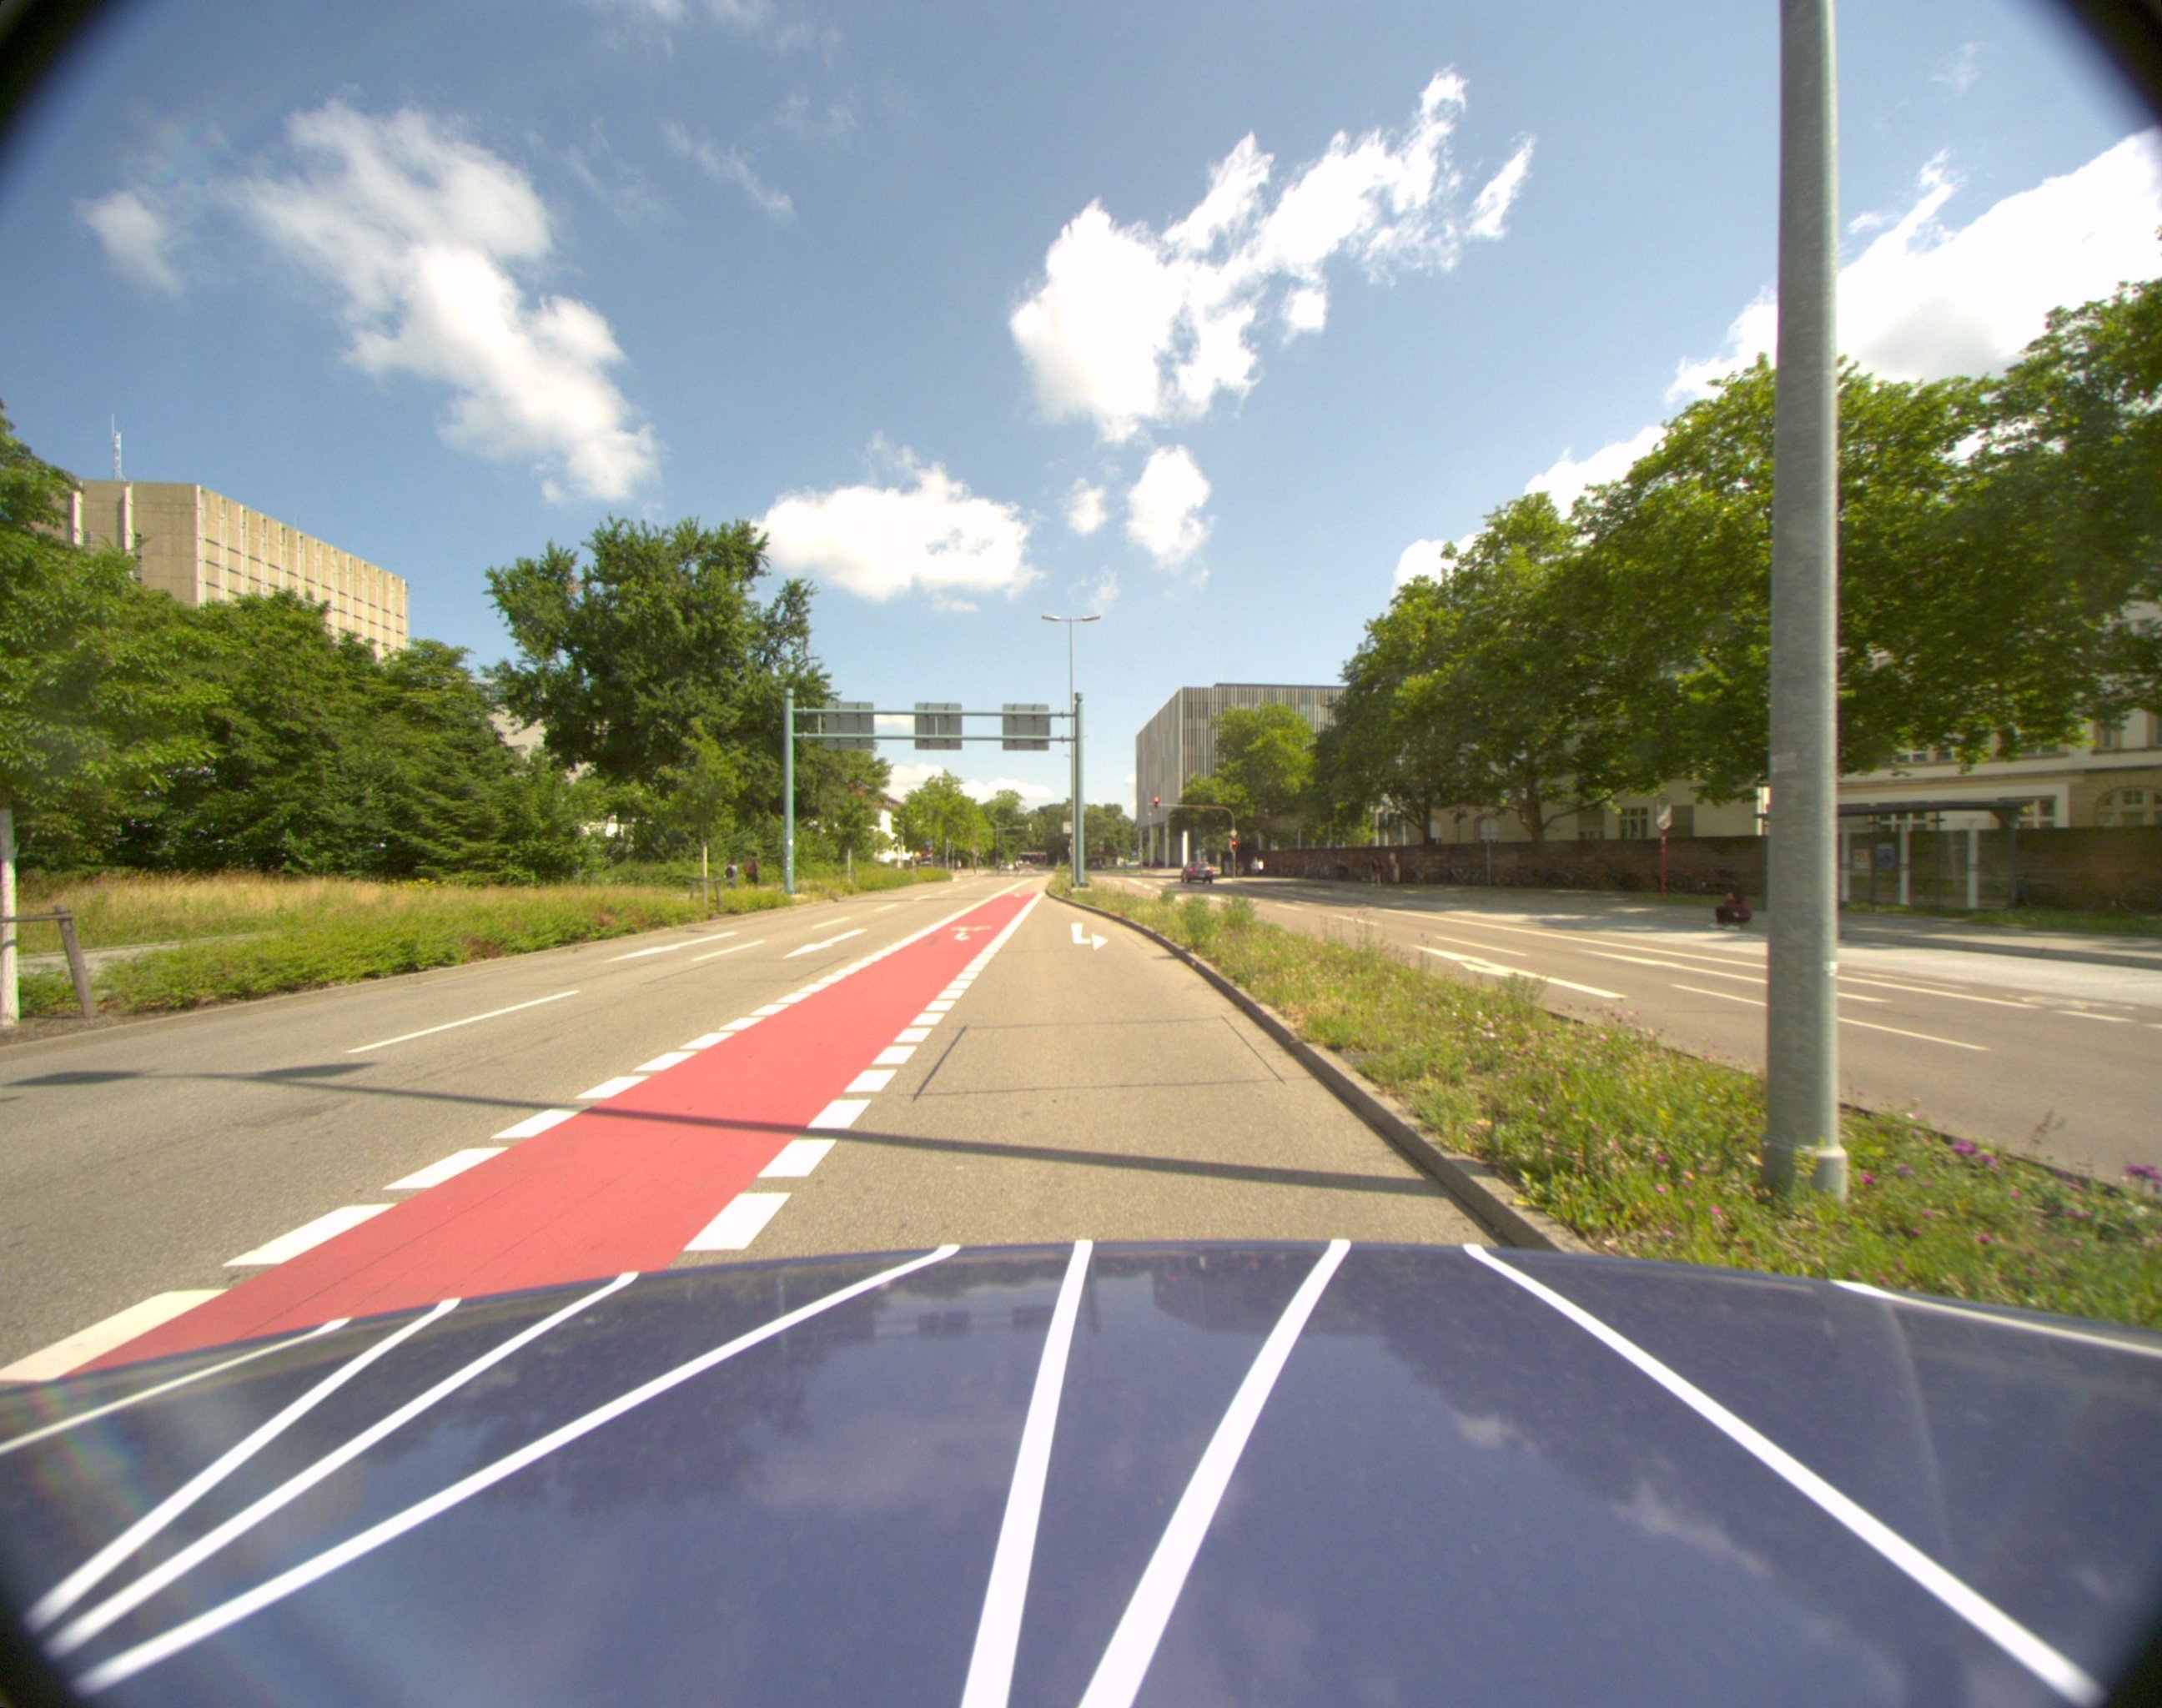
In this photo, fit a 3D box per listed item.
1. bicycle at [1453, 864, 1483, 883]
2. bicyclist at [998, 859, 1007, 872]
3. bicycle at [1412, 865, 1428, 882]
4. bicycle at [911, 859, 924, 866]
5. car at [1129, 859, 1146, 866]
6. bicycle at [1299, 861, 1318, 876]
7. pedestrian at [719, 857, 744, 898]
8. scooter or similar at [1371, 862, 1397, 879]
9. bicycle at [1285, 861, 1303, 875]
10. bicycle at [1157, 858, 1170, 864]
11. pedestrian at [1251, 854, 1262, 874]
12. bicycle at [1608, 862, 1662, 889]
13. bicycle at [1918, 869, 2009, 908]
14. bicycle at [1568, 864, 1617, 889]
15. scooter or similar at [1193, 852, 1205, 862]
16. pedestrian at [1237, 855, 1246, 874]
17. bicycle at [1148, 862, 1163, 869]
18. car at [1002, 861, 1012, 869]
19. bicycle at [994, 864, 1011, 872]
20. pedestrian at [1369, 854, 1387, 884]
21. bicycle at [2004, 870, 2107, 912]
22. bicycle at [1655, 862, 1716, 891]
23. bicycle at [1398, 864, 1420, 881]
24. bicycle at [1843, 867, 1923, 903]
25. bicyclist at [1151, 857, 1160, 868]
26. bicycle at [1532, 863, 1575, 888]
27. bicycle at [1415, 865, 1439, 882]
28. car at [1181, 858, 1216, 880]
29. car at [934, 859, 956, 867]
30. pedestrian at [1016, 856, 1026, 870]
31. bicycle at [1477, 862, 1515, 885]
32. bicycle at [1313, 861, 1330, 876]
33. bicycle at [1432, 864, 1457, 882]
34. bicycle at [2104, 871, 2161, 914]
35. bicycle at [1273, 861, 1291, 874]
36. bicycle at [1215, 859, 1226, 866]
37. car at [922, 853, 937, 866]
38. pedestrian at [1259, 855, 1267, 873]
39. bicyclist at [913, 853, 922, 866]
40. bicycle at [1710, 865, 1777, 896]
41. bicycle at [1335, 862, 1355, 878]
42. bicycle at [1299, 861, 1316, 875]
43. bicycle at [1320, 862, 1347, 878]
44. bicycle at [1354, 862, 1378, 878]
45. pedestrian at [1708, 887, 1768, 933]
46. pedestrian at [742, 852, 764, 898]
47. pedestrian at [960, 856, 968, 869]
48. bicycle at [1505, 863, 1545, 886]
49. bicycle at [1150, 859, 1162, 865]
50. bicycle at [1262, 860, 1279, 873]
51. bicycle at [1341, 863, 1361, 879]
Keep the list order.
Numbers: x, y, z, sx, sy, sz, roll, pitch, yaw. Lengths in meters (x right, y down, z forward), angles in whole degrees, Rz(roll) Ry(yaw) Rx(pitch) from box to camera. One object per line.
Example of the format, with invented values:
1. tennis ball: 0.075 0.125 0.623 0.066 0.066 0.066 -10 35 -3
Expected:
1. bicycle: 20.217 1.017 39.679 0.371 0.949 1.625 -1 0 -16
2. bicyclist: -8.559 1.244 83.052 0.932 1.341 0.444 -1 0 -14
3. bicycle: 18.944 1.087 42.438 0.367 0.949 1.626 0 0 8
4. bicycle: -19.011 0.991 88.294 1.510 0.828 0.621 0 0 39
5. car: 13.627 1.961 183.890 3.998 1.676 1.646 0 0 -2
6. bicycle: 16.525 1.052 55.242 0.594 1.042 1.879 0 0 -10
7. pedestrian: -13.486 0.906 29.302 0.624 1.571 0.708 0 0 -1
8. scooter or similar: 18.623 1.007 46.808 0.582 1.042 1.879 0 0 -10
9. bicycle: 16.494 1.048 58.933 0.566 1.042 1.879 0 0 -10
10. bicycle: 14.976 1.333 137.744 2.218 1.090 0.722 0 0 -9
11. pedestrian: 14.543 0.793 62.930 0.643 1.641 0.731 0 0 -6
12. bicycle: 22.575 0.875 30.993 0.585 1.067 1.752 -1 0 -22
13. bicycle: 25.831 0.979 22.269 0.585 1.067 1.628 -1 0 -22
14. bicycle: 22.027 0.951 32.763 0.584 1.067 1.753 0 0 -18
15. scooter or similar: 13.950 0.362 89.831 1.505 1.150 0.502 0 0 -28
16. pedestrian: 14.061 0.903 66.710 0.562 1.641 0.726 0 0 -6
17. bicycle: 9.538 1.459 96.788 1.771 0.887 0.639 0 0 31
18. car: -13.342 1.928 136.732 1.709 1.321 3.998 2 -1 -6
19. bicycle: -8.605 1.535 83.049 1.757 0.771 0.444 -1 0 -14
20. pedestrian: 15.952 0.804 40.826 0.658 1.600 0.744 -1 0 0
21. bicycle: 26.495 0.974 20.688 0.585 1.067 1.628 -1 0 -22
22. bicycle: 23.152 0.860 29.142 0.585 1.067 1.752 -1 0 -22
23. bicycle: 19.128 1.070 44.374 0.368 0.949 1.400 -1 0 -16
24. bicycle: 25.184 0.960 23.879 0.585 1.067 1.628 -1 0 -22
25. bicyclist: 9.438 1.069 96.832 0.944 1.456 0.633 0 0 30
26. bicycle: 21.503 0.958 34.609 0.584 1.067 1.753 0 0 -16
27. bicycle: 19.548 1.089 42.946 0.368 0.949 1.400 -1 0 -16
28. car: 8.108 1.035 52.763 1.705 1.436 4.145 1 0 -1
29. car: -25.954 1.694 144.733 4.001 1.416 1.756 0 0 -12
30. pedestrian: -7.651 1.135 96.514 0.700 1.815 0.944 3 1 40
31. bicycle: 20.636 0.958 37.780 0.584 1.067 1.753 0 0 -16
32. bicycle: 17.231 1.063 54.495 0.371 1.042 1.879 0 0 -10
33. bicycle: 19.852 1.012 41.489 0.368 0.949 1.400 -1 0 -16
34. bicycle: 27.182 0.972 19.116 0.585 1.067 1.628 -1 0 -22
35. bicycle: 16.114 1.056 60.927 0.632 1.042 1.879 0 0 -10
36. bicycle: 20.714 1.221 112.882 0.720 1.090 2.223 0 0 36
37. car: -24.251 0.843 121.712 2.000 2.002 4.899 0 0 -7
38. pedestrian: 15.137 0.815 63.092 0.477 1.531 0.616 0 0 -6
39. bicyclist: -19.008 0.658 88.289 0.916 1.498 0.614 0 0 39
40. bicycle: 23.843 0.951 27.392 0.585 1.067 1.752 -1 0 -22
41. bicycle: 17.587 1.071 50.593 0.374 1.042 1.879 0 0 -10
42. bicycle: 16.860 1.053 56.564 0.371 1.042 1.879 0 0 -10
43. bicycle: 17.480 1.085 52.595 0.594 1.042 1.877 0 0 -26
44. bicycle: 18.276 1.019 48.769 0.582 1.042 1.879 0 0 -10
45. pedestrian: 14.775 1.248 17.102 0.696 0.957 0.743 -1 0 -2
46. pedestrian: -12.729 0.815 29.537 0.568 1.791 0.639 0 0 -1
47. pedestrian: -15.172 1.097 98.502 0.741 1.640 0.640 0 0 8
48. bicycle: 21.031 0.952 36.051 0.631 1.070 1.651 -1 0 -16
49. bicycle: 14.749 1.558 149.844 2.218 1.090 0.722 0 0 -9
50. bicycle: 15.730 1.063 63.078 0.632 1.042 1.879 0 0 -10
51. bicycle: 17.980 1.095 50.653 0.395 1.042 1.879 0 0 -10
